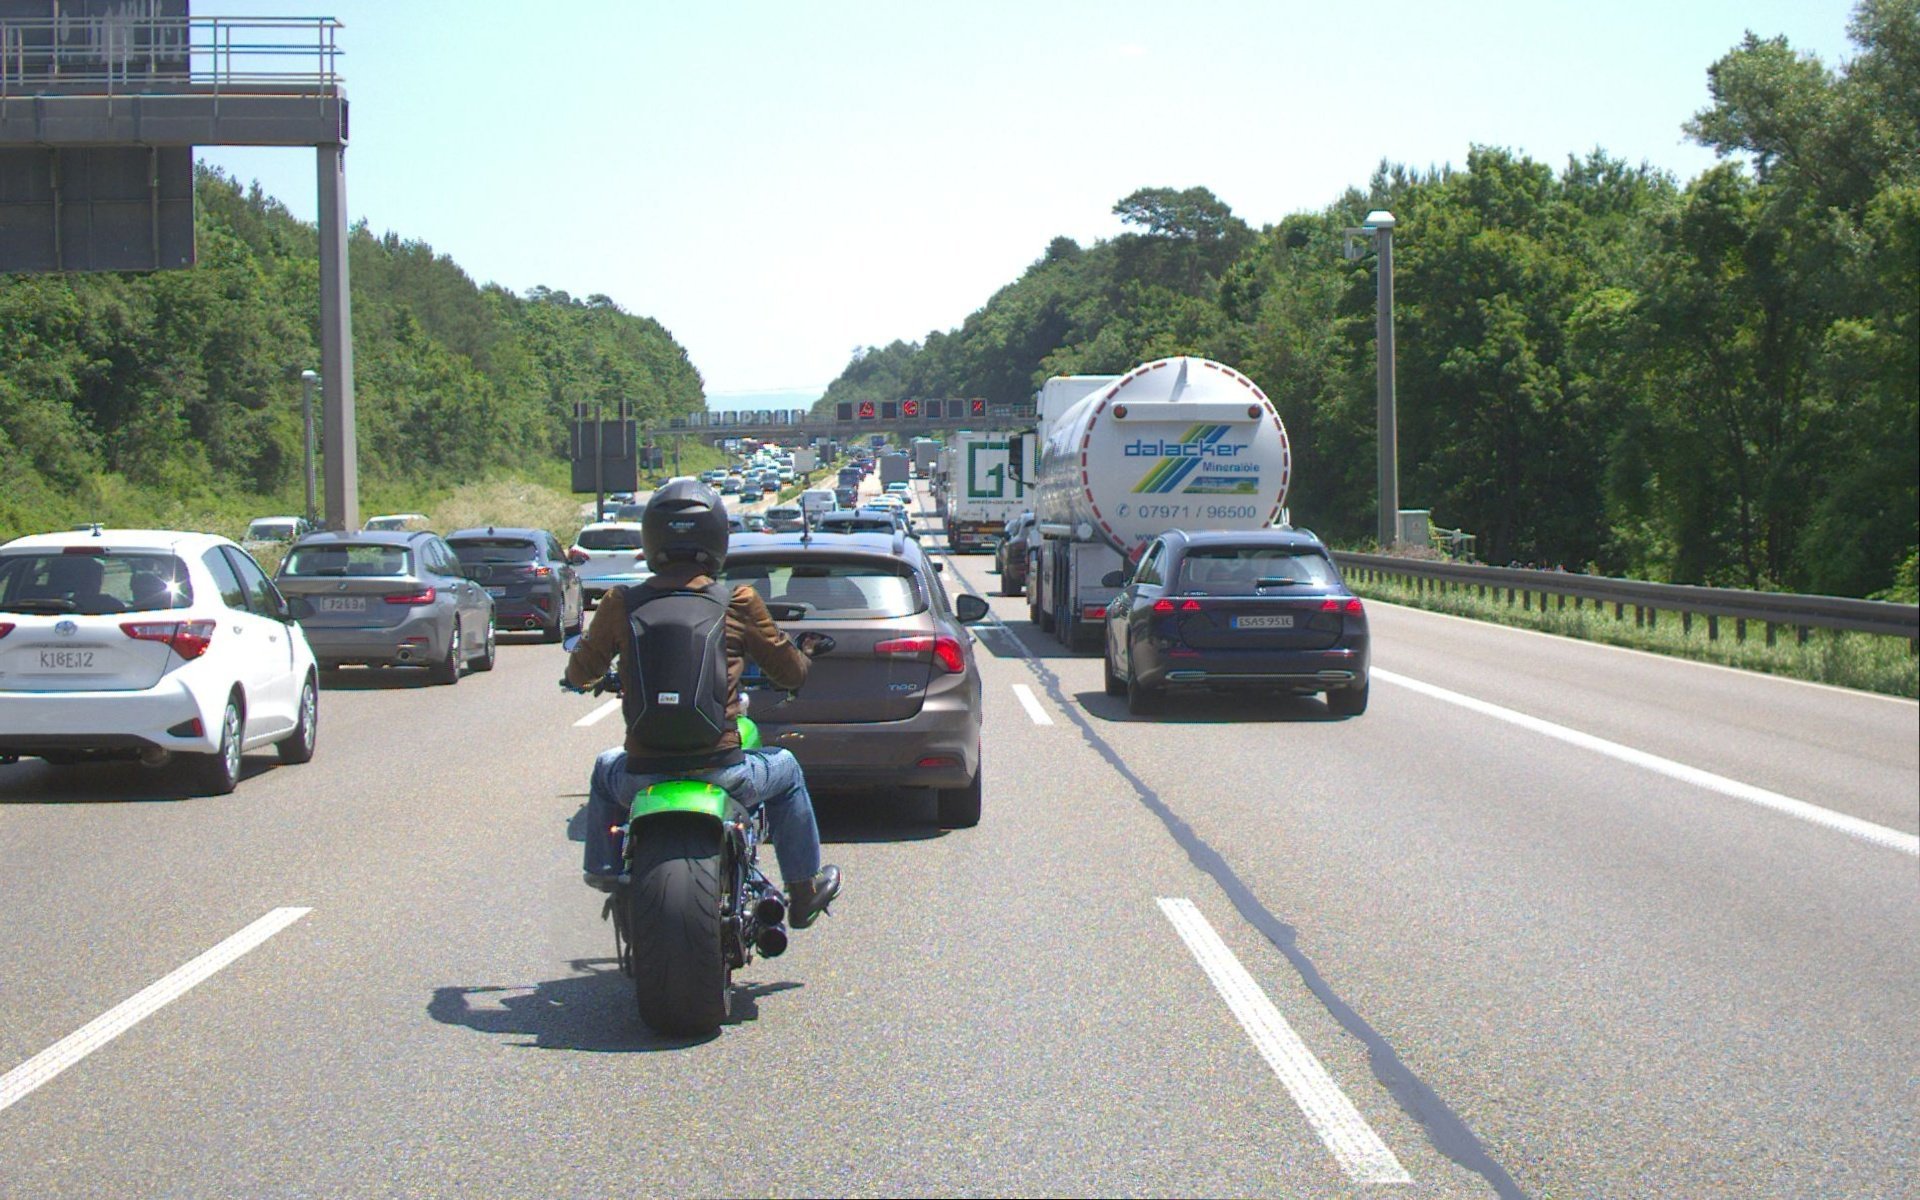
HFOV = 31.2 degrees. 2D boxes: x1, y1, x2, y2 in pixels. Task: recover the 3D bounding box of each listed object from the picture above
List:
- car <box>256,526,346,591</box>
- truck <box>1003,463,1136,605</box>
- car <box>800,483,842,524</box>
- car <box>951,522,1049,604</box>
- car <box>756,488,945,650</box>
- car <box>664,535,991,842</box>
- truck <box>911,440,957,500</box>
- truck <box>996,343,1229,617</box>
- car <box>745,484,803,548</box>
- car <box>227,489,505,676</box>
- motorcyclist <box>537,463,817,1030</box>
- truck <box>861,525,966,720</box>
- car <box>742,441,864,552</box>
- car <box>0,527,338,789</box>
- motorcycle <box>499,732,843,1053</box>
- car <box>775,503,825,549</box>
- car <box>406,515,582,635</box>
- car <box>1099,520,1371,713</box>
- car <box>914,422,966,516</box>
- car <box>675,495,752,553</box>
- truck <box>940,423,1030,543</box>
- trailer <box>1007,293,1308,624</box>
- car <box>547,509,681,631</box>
[{"bbox_3d":[-20.909,-1.291,109.187,1.993,2.007,4.473,0,0,0],"label":"car"},{"bbox_3d":[2.341,-1.456,76.042,2.388,2.969,8.253,0,1,-2],"label":"truck"},{"bbox_3d":[-6.960,-4.839,172.960,1.993,2.007,4.000,-1,1,-1],"label":"car"},{"bbox_3d":[0.746,-0.706,66.675,1.776,1.522,4.000,0,0,-1],"label":"car"},{"bbox_3d":[-1.222,-0.336,38.494,1.993,1.705,4.000,0,0,-2],"label":"car"},{"bbox_3d":[-0.658,0.385,18.269,1.541,1.445,4.000,0,1,-1],"label":"car"},{"bbox_3d":[-1.652,-7.973,211.854,2.696,3.394,10.479,-1,1,-1],"label":"truck"},{"bbox_3d":[2.082,-1.618,49.265,2.828,3.658,6.430,0,0,-2],"label":"truck"},{"bbox_3d":[-5.849,-2.632,108.447,1.660,1.971,4.000,0,1,0],"label":"car"},{"bbox_3d":[-5.661,-0.165,33.274,1.993,1.678,4.330,0,0,-1],"label":"car"},{"bbox_3d":[-0.864,0.435,10.740,0.799,1.682,1.016,0,0,-1],"label":"motorcyclist"},{"bbox_3d":[-1.232,0.409,84.839,2.388,4.448,10.870,0,2,-2],"label":"truck"},{"bbox_3d":[-2.653,-1.731,58.715,1.993,1.769,4.000,0,0,-2],"label":"car"},{"bbox_3d":[-4.938,0.303,20.519,1.776,1.406,4.000,0,0,-1],"label":"car"},{"bbox_3d":[-0.863,0.880,10.951,0.936,0.790,2.299,0,1,-1],"label":"motorcycle"},{"bbox_3d":[-5.795,-2.671,124.739,1.660,1.594,4.000,0,1,0],"label":"car"},{"bbox_3d":[-5.922,-0.310,44.049,1.993,1.459,4.001,0,0,-4],"label":"car"},{"bbox_3d":[2.179,0.117,28.336,1.792,1.453,4.624,0,0,-1],"label":"car"},{"bbox_3d":[-0.930,-5.797,153.586,2.167,3.879,9.330,0,0,-1],"label":"car"},{"bbox_3d":[-6.490,-1.996,90.868,1.764,1.437,4.000,0,0,0],"label":"car"},{"bbox_3d":[0.884,-3.887,116.133,2.854,3.808,7.187,0,0,2],"label":"truck"},{"bbox_3d":[2.269,-1.591,43.608,2.828,3.658,10.733,0,0,-2],"label":"trailer"},{"bbox_3d":[-5.926,-0.506,59.240,1.993,2.007,4.000,0,0,-1],"label":"car"}]
